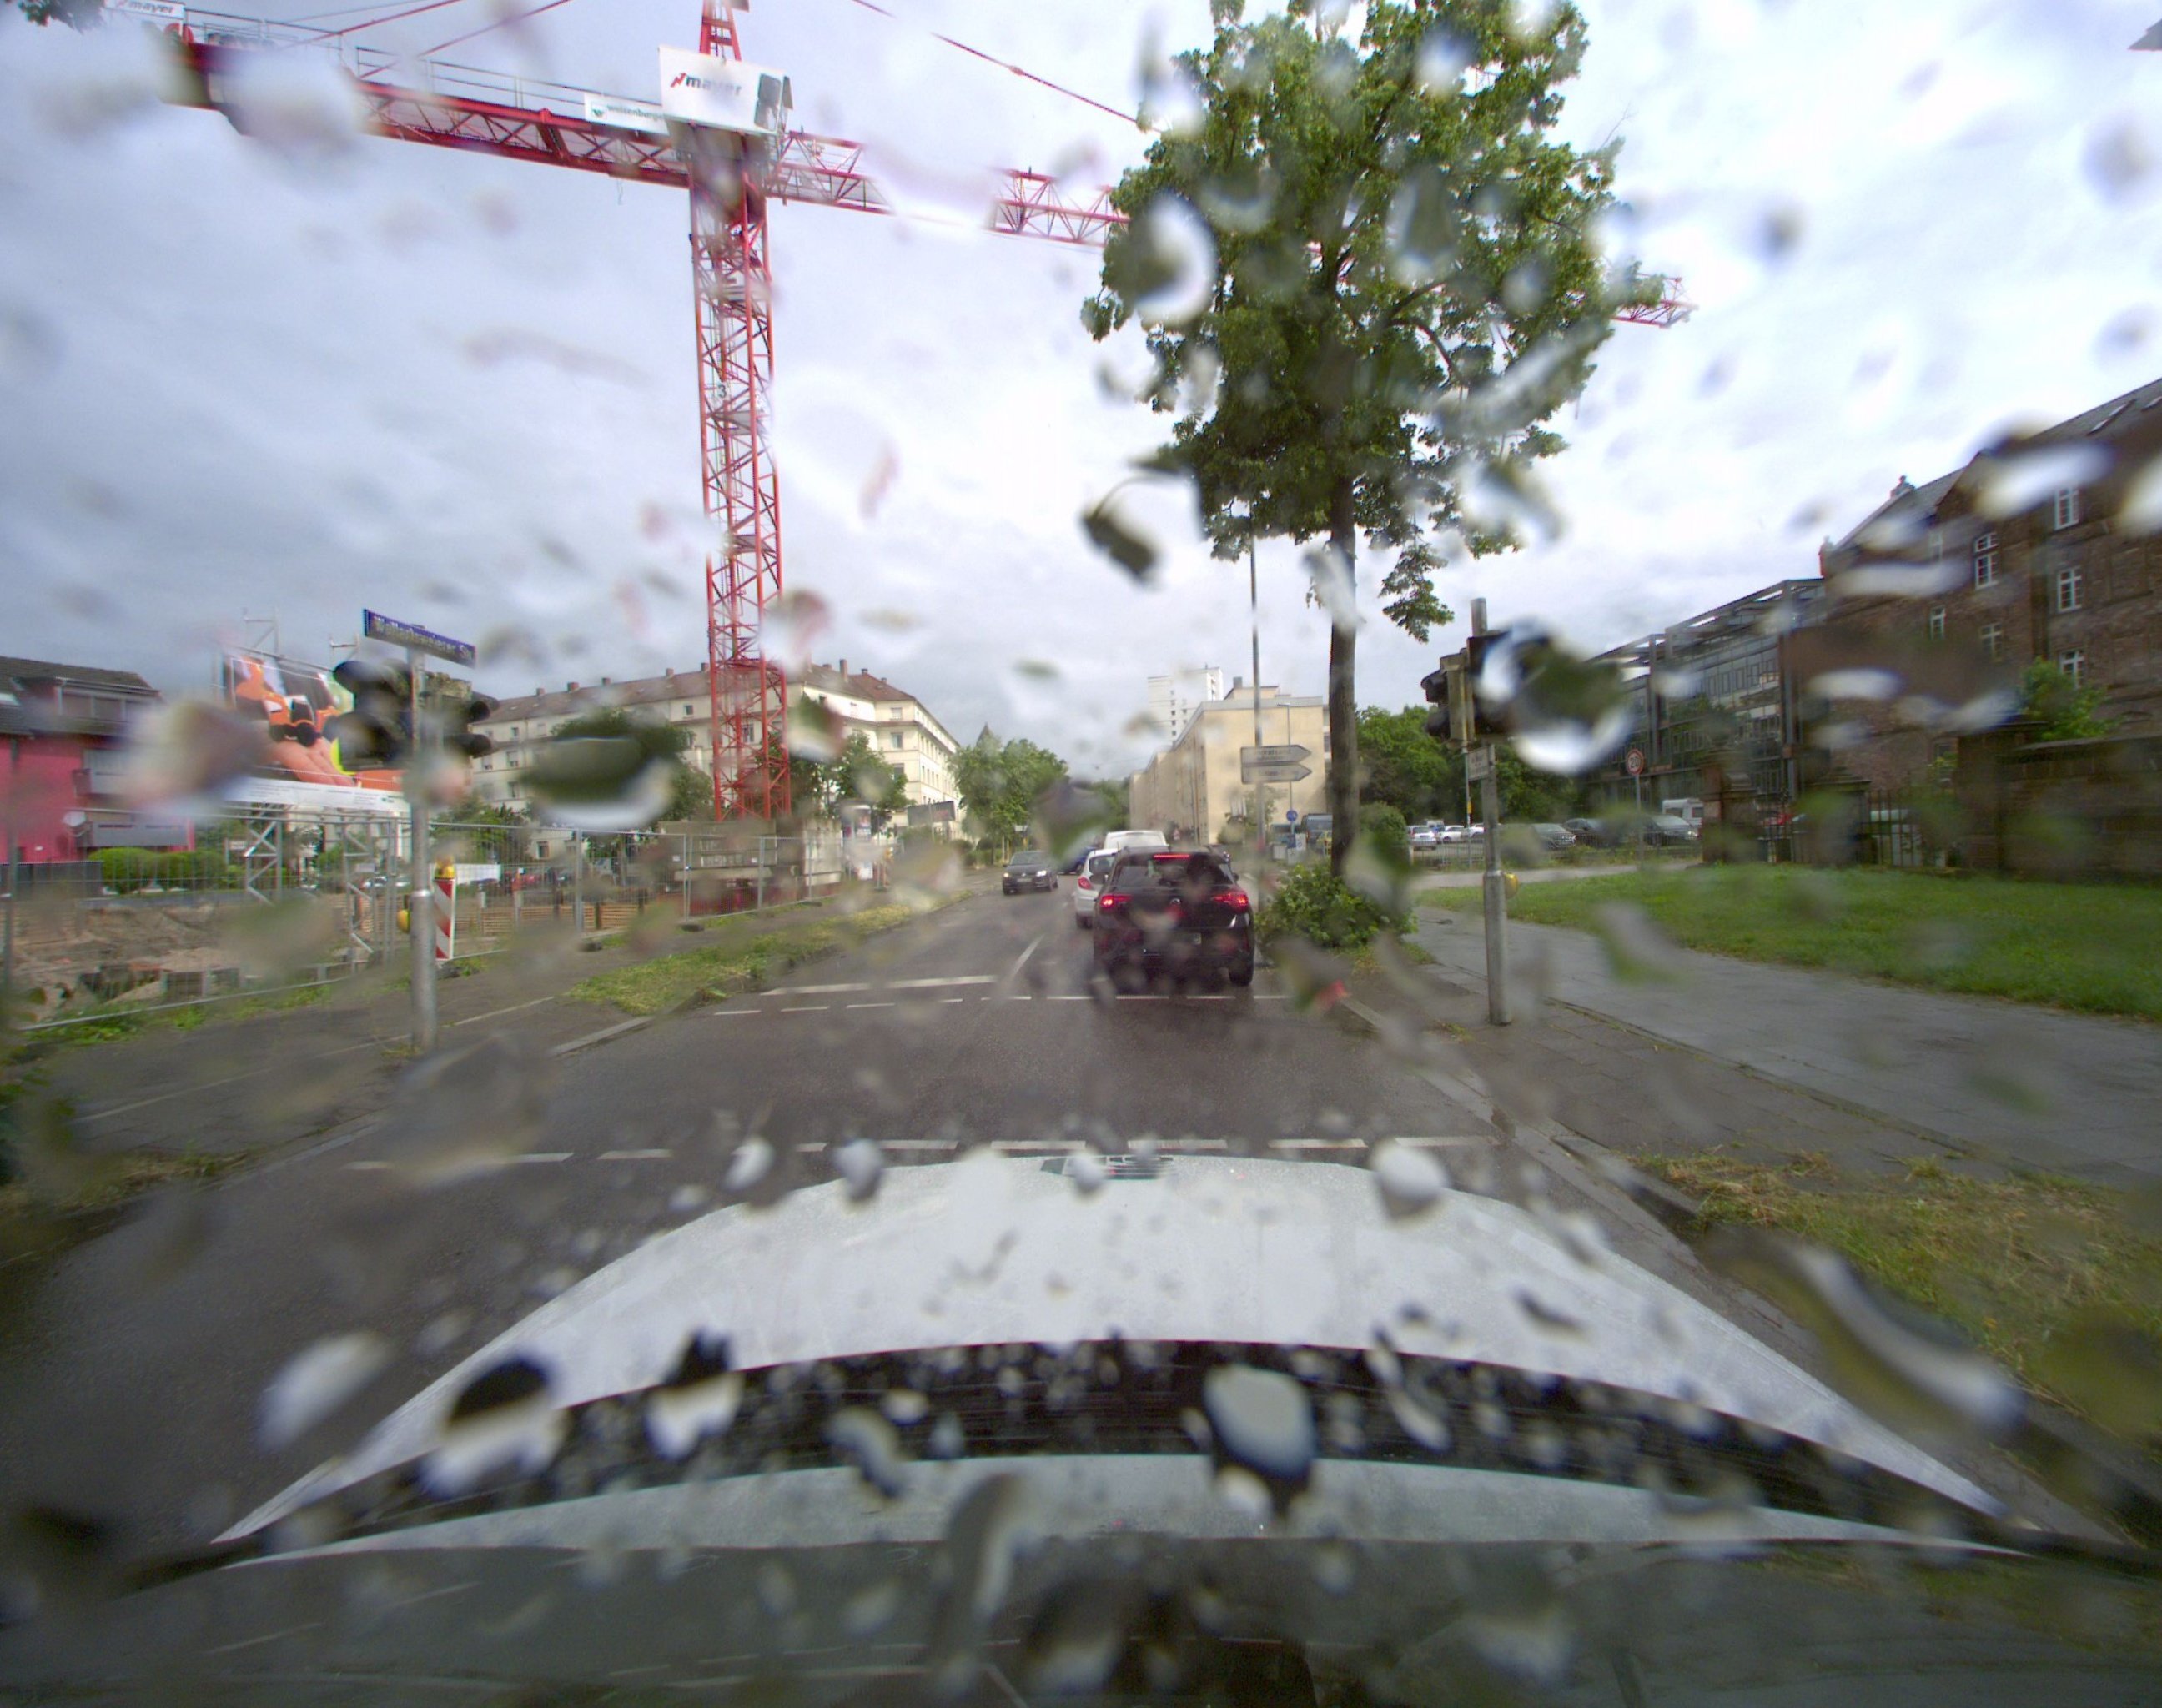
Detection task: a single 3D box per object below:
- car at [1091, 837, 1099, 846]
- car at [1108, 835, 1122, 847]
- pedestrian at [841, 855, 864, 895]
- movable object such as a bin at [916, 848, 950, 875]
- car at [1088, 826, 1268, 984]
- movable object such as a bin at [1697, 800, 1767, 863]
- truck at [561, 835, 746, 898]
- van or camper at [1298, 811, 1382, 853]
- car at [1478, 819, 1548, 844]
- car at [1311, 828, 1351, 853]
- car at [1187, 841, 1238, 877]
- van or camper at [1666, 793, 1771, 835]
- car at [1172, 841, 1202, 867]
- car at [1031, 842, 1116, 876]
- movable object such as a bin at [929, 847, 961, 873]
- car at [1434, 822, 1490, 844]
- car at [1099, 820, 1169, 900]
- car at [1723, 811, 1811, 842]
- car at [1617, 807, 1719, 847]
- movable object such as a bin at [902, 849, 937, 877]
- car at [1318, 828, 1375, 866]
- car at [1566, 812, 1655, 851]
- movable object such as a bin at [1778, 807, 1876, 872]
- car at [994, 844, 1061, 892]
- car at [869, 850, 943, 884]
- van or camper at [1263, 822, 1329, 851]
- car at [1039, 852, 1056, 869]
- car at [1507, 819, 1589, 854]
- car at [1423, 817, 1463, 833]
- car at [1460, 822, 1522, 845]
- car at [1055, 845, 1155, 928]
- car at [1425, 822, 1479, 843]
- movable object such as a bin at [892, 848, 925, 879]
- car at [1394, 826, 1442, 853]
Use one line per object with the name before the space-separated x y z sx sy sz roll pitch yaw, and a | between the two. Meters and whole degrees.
car | 3.061 -2.837 182.527 1.660 1.837 4.000 -3 1 0
car | 5.009 -1.873 119.370 1.833 1.607 3.679 -4 0 3
pedestrian | -9.433 0.840 33.551 0.727 1.629 0.677 0 -1 -36
movable object such as a bin | -9.910 0.510 54.613 1.524 1.674 1.675 -3 1 21
car | 1.095 0.537 10.608 1.866 1.645 4.064 -1 0 2
movable object such as a bin | 15.872 -0.542 19.879 0.796 1.457 1.098 -4 1 3
truck | -25.998 0.739 49.651 9.740 3.184 3.807 -3 0 15
van or camper | 17.379 -1.475 54.852 4.977 2.554 2.177 -2 -1 3
car | 30.122 -1.558 56.839 3.957 1.465 1.674 -3 0 3
car | 15.668 -0.822 51.171 1.603 1.448 3.420 -3 1 4
car | 6.375 0.212 39.931 1.768 1.539 4.379 -5 1 1
van or camper | 39.748 -2.475 50.865 4.768 2.486 2.259 -1 0 1
car | 6.629 0.052 51.309 1.748 1.528 4.006 1 -1 6
car | -0.446 0.271 43.728 4.391 1.584 1.833 -2 2 43
movable object such as a bin | -9.348 0.426 56.115 1.524 1.661 1.466 -3 1 21
car | 30.166 -1.653 64.527 3.649 1.486 1.642 -3 0 5
car | 1.545 0.161 23.580 1.828 2.103 4.004 -1 0 4
car | 40.406 -1.619 48.048 3.650 1.576 1.674 -3 0 3
car | 27.714 -1.233 38.649 1.845 1.679 4.429 -3 1 4
movable object such as a bin | -10.505 0.572 53.066 1.524 1.656 1.536 -3 1 21
car | 13.597 -0.384 41.932 1.795 1.749 4.243 -3 1 4
car | 25.428 -1.079 39.280 1.843 1.679 4.433 -3 1 8
movable object such as a bin | 18.274 -0.351 19.994 1.101 1.457 1.392 -4 1 3
car | -1.819 0.459 28.845 1.805 1.540 3.986 -2 0 4
car | -10.034 0.757 46.883 3.988 1.637 1.888 -4 -1 -11
van or camper | 17.123 -1.399 65.179 4.736 2.131 2.325 -2 1 5
car | -3.314 0.599 80.223 1.582 1.505 4.061 -4 1 -2
car | 22.363 -0.832 39.208 1.819 1.527 4.432 -3 1 7
car | 35.702 -2.877 80.363 3.209 1.397 1.511 -3 0 5
car | 29.740 -1.469 59.102 3.649 1.486 1.642 -3 0 5
car | 0.521 0.601 16.917 1.806 1.503 4.002 -1 0 2
car | 30.435 -1.732 66.803 3.649 1.486 1.642 -3 0 5
movable object such as a bin | -10.918 0.602 51.535 1.524 1.824 1.270 -3 1 21
car | 20.889 -0.897 50.658 1.641 1.486 3.724 -3 1 5
